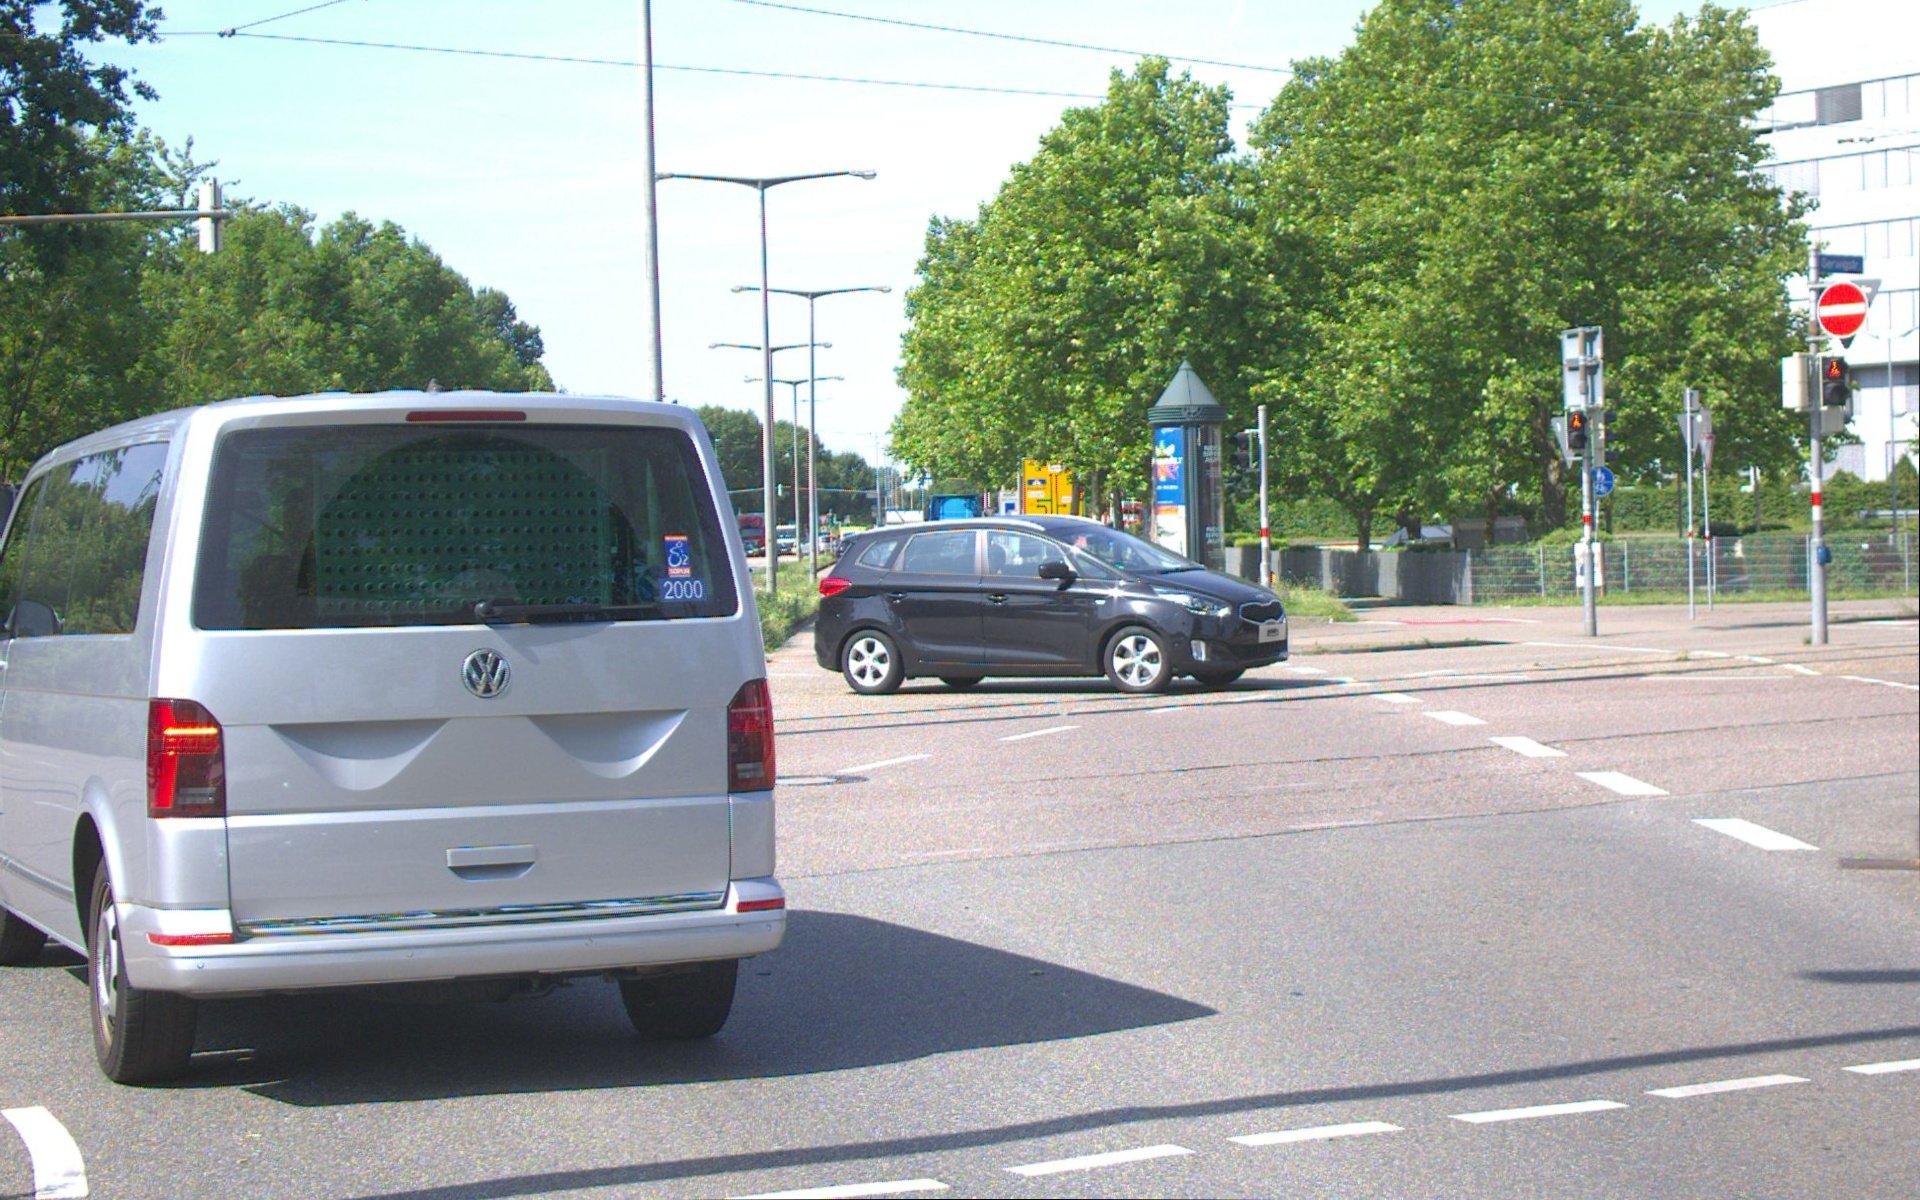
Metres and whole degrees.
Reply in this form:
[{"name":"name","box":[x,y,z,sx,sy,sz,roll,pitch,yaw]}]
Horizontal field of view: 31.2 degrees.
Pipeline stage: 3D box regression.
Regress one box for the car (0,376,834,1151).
[{"name":"car","box":[-2.174,0.375,11.402,1.941,1.965,5.023,-1,1,-21]}]

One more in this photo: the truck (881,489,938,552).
[{"name":"truck","box":[-2.969,-4.688,203.370,2.841,3.565,8.719,-2,1,2]}]

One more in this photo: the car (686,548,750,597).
[{"name":"car","box":[-7.408,-0.852,105.532,1.714,1.374,4.473,-3,1,-2]}]

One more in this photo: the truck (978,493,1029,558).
[{"name":"truck","box":[3.113,-5.253,243.150,3.191,4.340,13.146,-2,1,2]}]

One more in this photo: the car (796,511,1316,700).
[{"name":"car","box":[0.860,0.057,31.437,4.370,1.600,1.811,-1,1,29]}]
